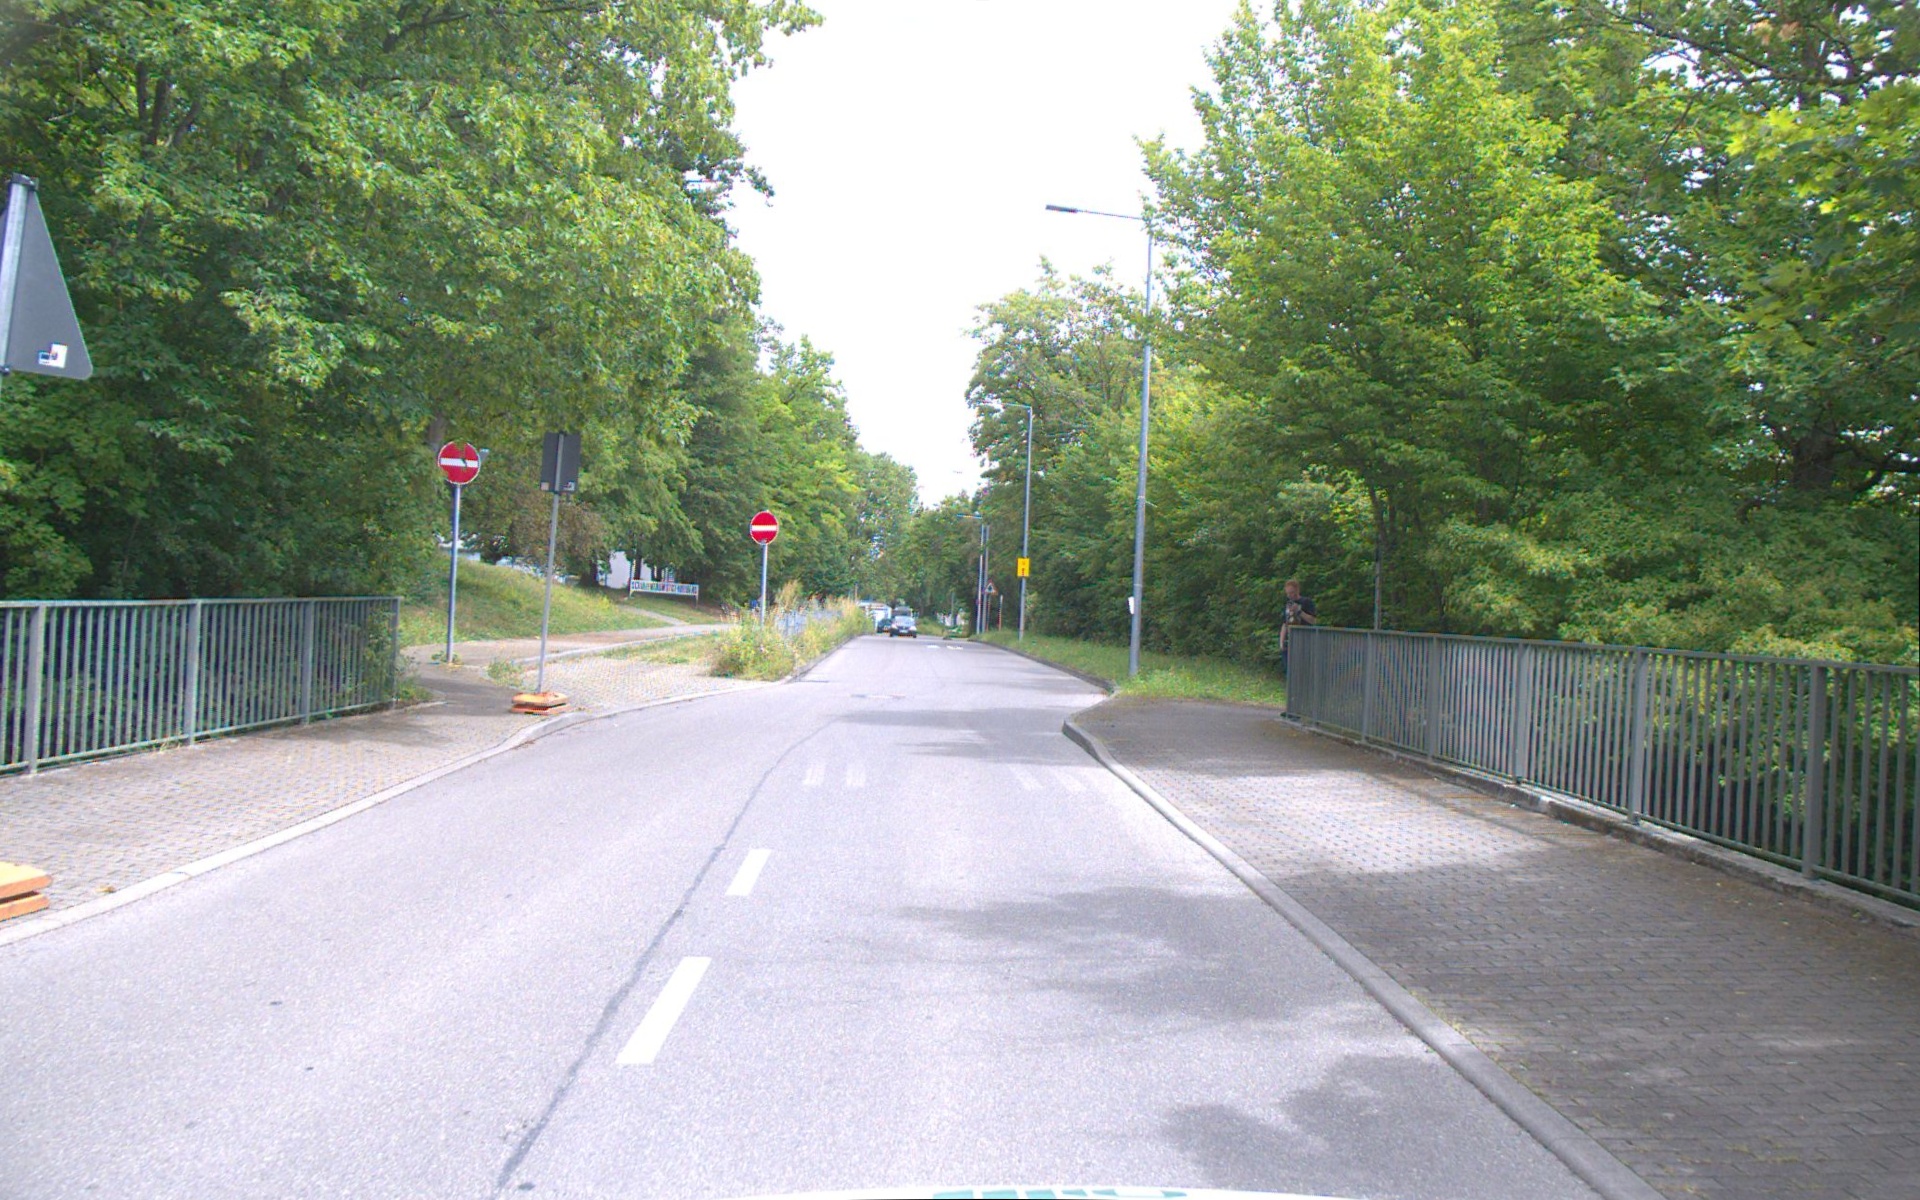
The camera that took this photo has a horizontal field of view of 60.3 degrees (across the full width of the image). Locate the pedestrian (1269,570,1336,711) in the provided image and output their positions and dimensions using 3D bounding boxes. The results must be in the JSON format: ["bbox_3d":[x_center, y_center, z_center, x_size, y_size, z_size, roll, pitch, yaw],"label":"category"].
[{"bbox_3d":[4.505,0.525,21.767,0.667,1.814,0.587,2,-1,-9],"label":"pedestrian"}]

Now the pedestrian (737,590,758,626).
[{"bbox_3d":[-12.368,0.478,96.197,0.863,2.049,0.861,-3,-5,43],"label":"pedestrian"}]

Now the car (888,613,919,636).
[{"bbox_3d":[-3.472,1.499,102.373,1.658,1.372,4.094,2,0,0],"label":"car"}]

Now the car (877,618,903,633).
[{"bbox_3d":[-7.081,2.565,167.496,1.937,1.408,4.002,3,-1,5],"label":"car"}]
